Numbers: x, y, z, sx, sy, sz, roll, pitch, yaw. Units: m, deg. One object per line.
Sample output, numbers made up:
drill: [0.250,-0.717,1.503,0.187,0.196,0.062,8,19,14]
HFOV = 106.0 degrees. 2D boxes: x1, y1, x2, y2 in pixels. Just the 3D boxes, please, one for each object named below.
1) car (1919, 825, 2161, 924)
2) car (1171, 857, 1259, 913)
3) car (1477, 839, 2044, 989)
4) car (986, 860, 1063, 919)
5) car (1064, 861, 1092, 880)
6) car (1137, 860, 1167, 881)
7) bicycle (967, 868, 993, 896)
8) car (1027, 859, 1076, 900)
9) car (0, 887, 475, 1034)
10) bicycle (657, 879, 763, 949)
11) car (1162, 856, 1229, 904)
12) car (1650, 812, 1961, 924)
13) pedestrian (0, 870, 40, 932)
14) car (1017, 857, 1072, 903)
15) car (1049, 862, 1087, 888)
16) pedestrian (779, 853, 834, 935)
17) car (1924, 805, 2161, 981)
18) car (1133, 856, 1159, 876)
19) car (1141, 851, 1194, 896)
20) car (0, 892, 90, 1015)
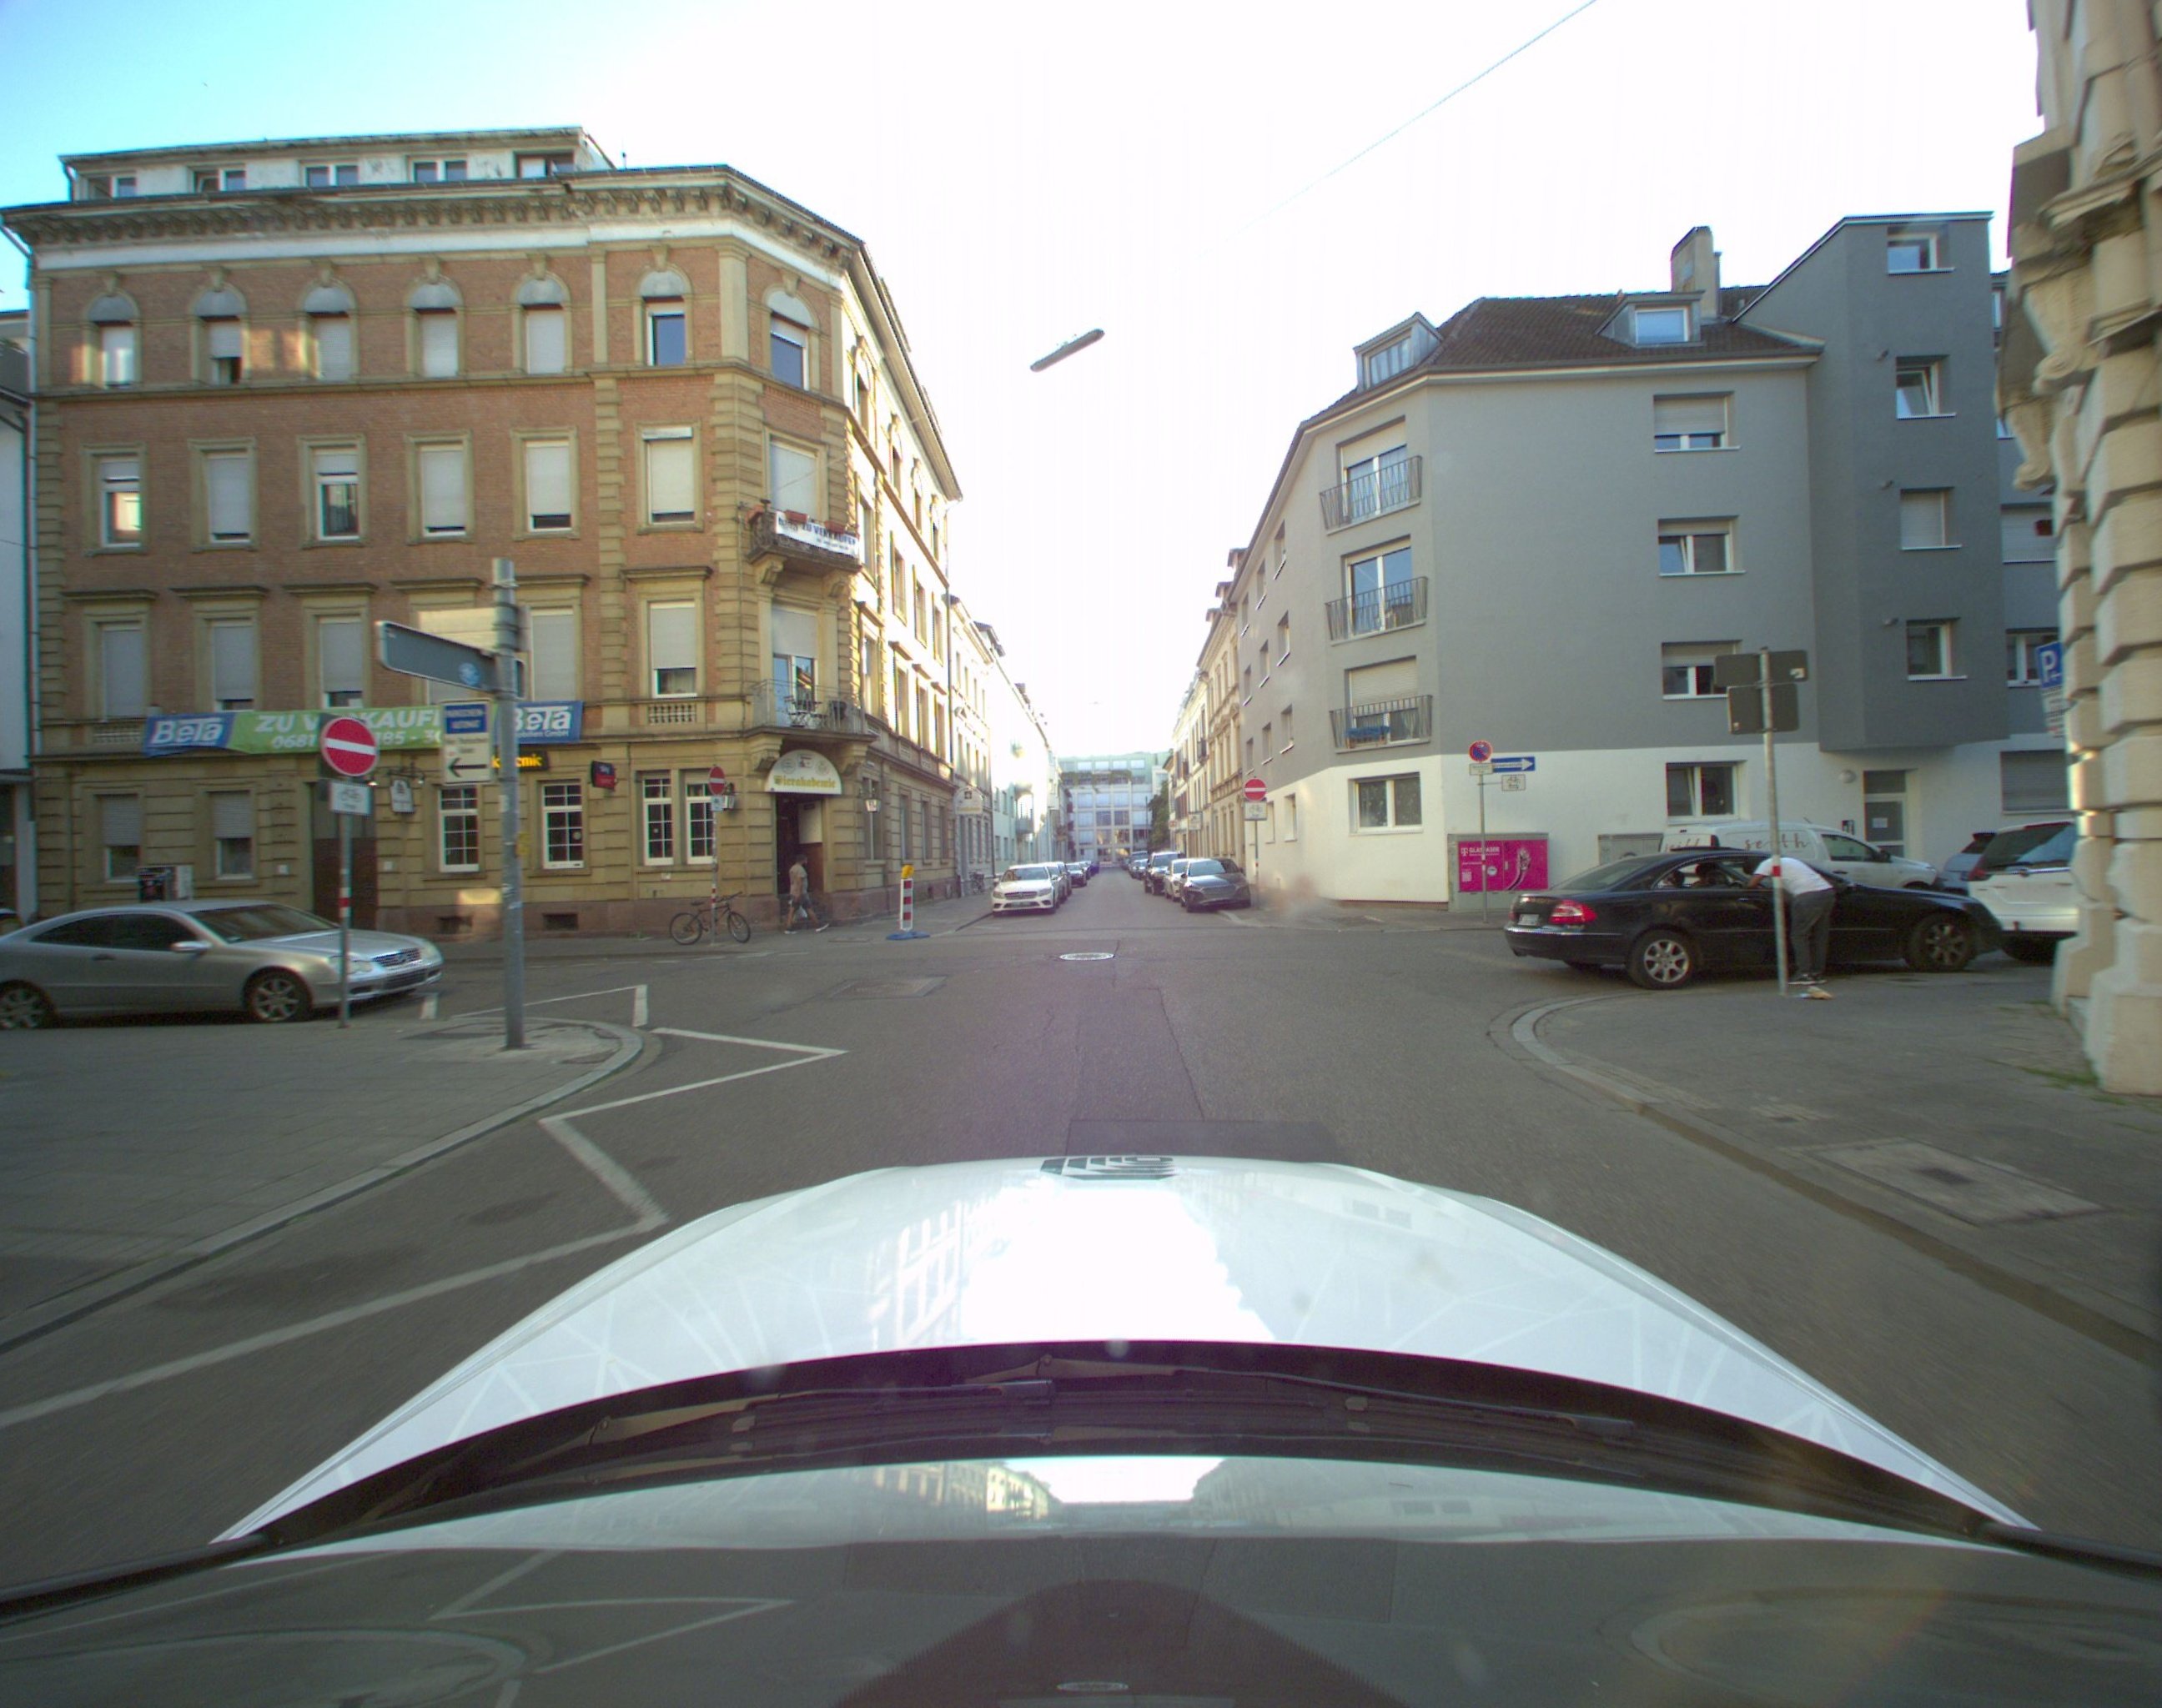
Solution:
car: [18.174,0.323,14.710,4.341,1.564,1.767,-2,-1,-3]
car: [3.769,0.819,23.541,1.931,1.372,3.789,-3,0,1]
car: [7.306,0.627,9.223,4.691,1.408,1.893,-2,0,4]
car: [-1.628,1.021,24.989,1.987,1.564,4.506,-2,0,0]
car: [-0.247,1.317,65.443,2.166,1.418,3.999,-2,0,0]
car: [5.206,1.172,60.152,1.985,1.451,4.003,-1,0,3]
bicycle: [-4.489,1.218,36.237,0.734,1.160,2.462,-1,0,2]
car: [-1.258,1.076,36.158,1.778,1.659,3.820,-2,0,3]
car: [-10.242,1.213,9.830,4.459,1.401,1.756,-2,1,0]
bicycle: [-7.433,1.199,16.367,1.753,1.275,0.660,-2,3,-2]
car: [4.091,0.884,29.608,1.956,1.557,3.890,-2,0,1]
car: [13.052,0.242,14.862,4.156,1.814,1.637,-2,0,1]
pedestrian: [-23.814,1.028,17.975,0.795,1.339,0.843,-1,-1,22]
car: [-1.301,0.921,30.416,1.618,1.577,3.757,-2,0,3]
car: [-0.715,1.180,47.409,1.986,1.355,4.430,-2,0,2]
pedestrian: [-6.145,0.872,18.203,1.019,1.742,0.976,-1,-1,-27]
car: [12.430,0.333,8.902,4.429,1.723,1.824,-2,0,2]
car: [5.636,1.023,70.838,1.986,1.700,4.001,-1,0,1]
car: [3.655,0.792,35.043,1.887,1.784,4.001,-2,0,1]
car: [-15.765,1.337,10.284,4.088,1.524,2.016,-2,0,2]
